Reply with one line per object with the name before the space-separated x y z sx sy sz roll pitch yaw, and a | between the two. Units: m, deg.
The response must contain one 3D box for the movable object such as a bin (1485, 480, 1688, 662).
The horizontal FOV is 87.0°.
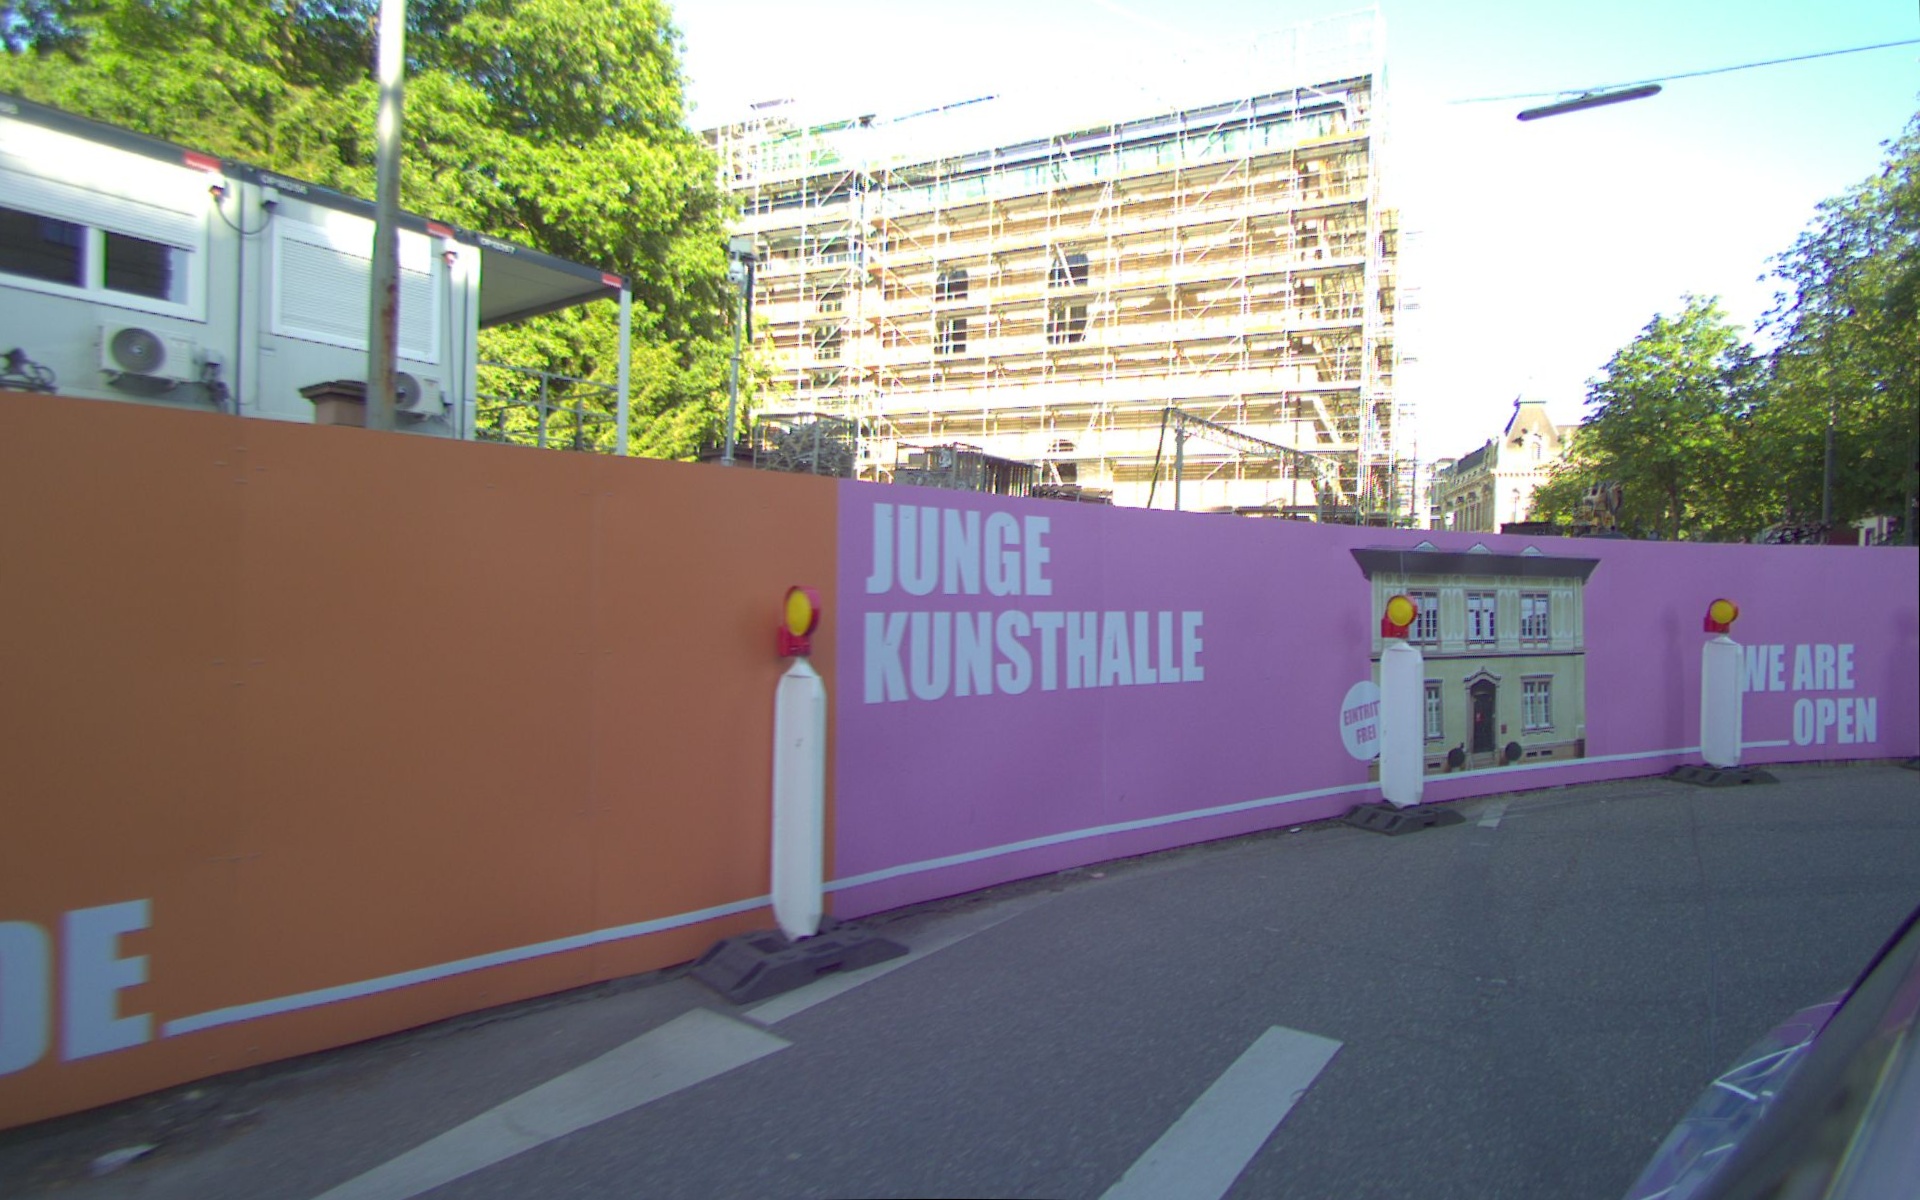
movable object such as a bin | 13.252 -0.613 21.294 3.155 3.341 4.327 3 2 37
